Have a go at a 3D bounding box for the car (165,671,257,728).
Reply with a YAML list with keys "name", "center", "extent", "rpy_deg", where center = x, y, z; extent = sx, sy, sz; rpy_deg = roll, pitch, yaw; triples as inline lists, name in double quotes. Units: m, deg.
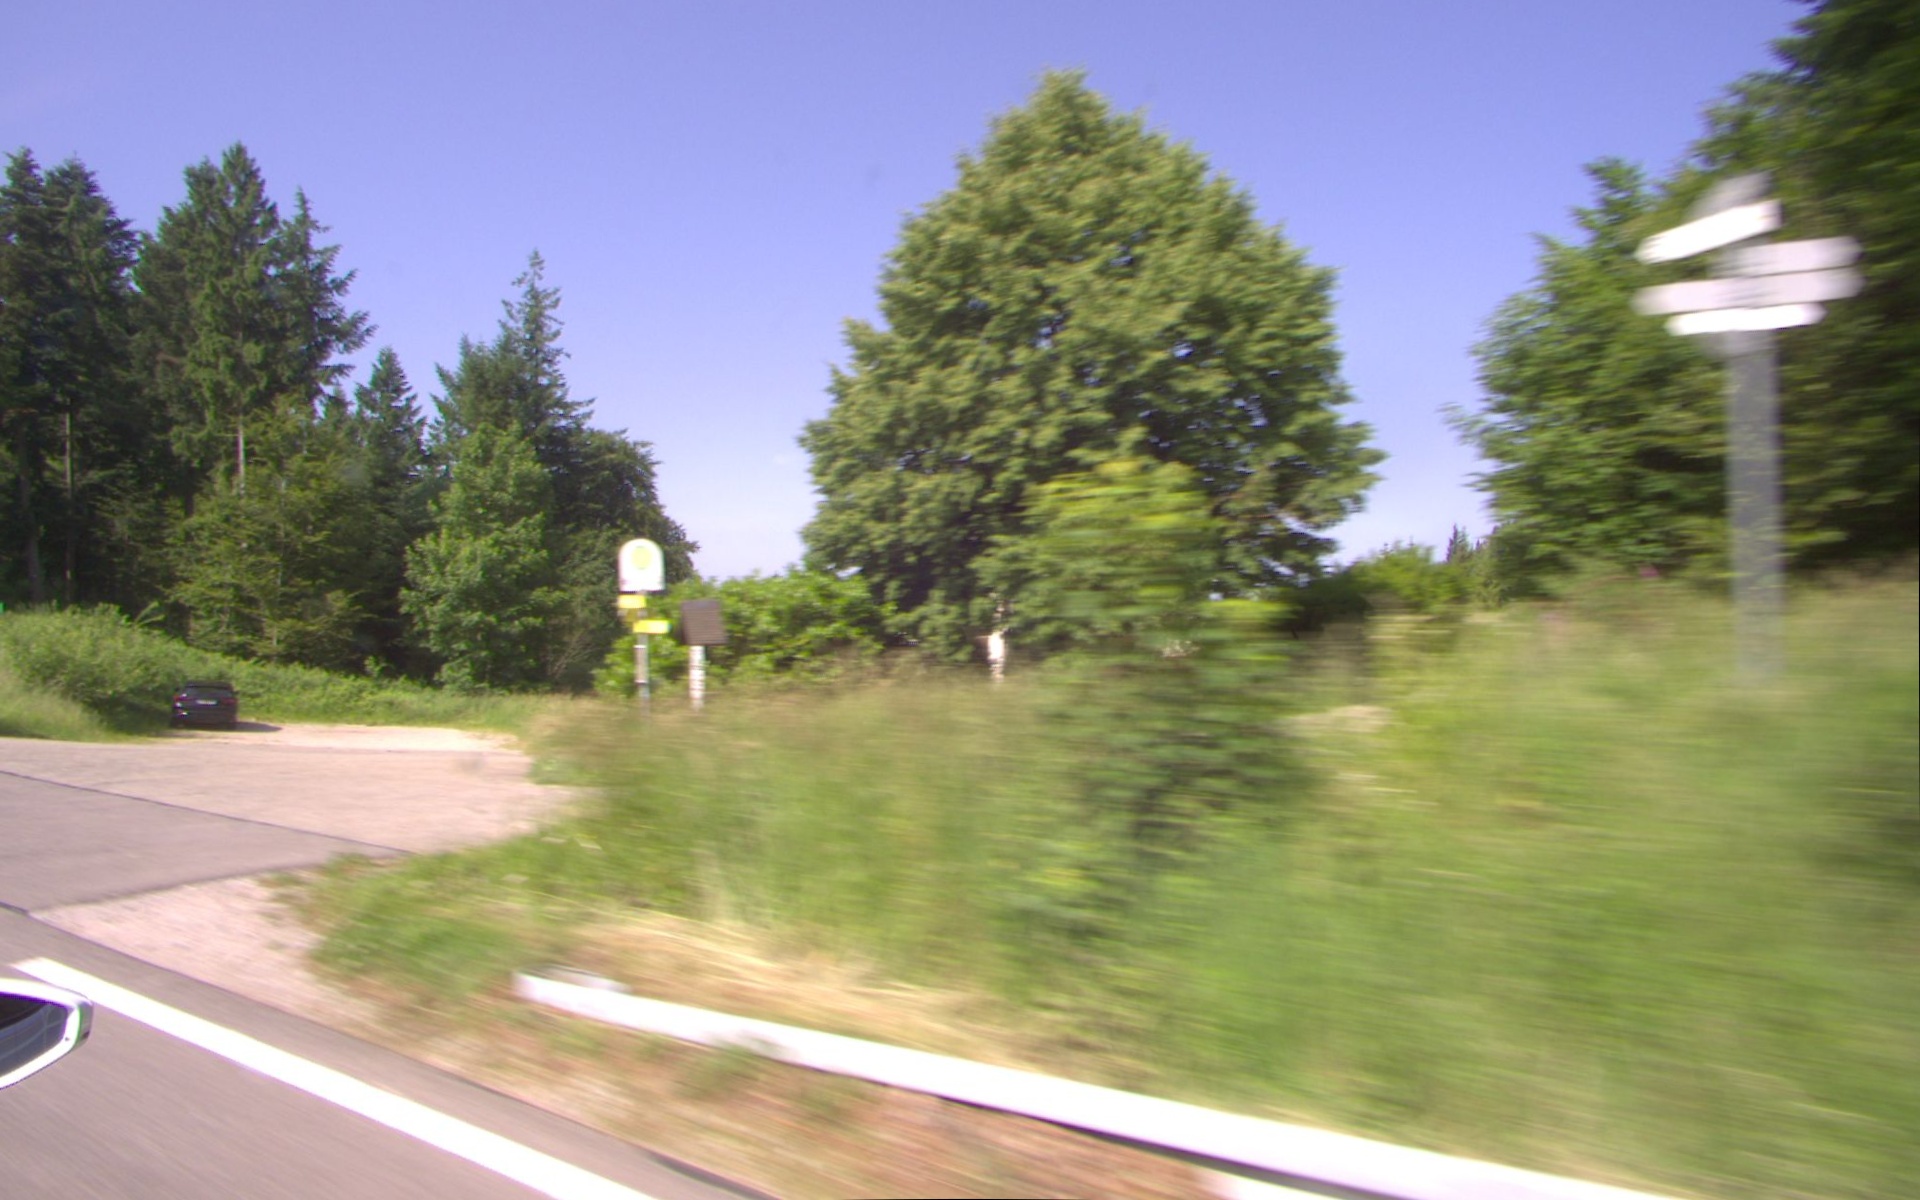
- name: "car"
  center: [-25.742, 3.397, 34.552]
  extent: [1.914, 1.612, 3.980]
  rpy_deg: [7, -5, -30]
